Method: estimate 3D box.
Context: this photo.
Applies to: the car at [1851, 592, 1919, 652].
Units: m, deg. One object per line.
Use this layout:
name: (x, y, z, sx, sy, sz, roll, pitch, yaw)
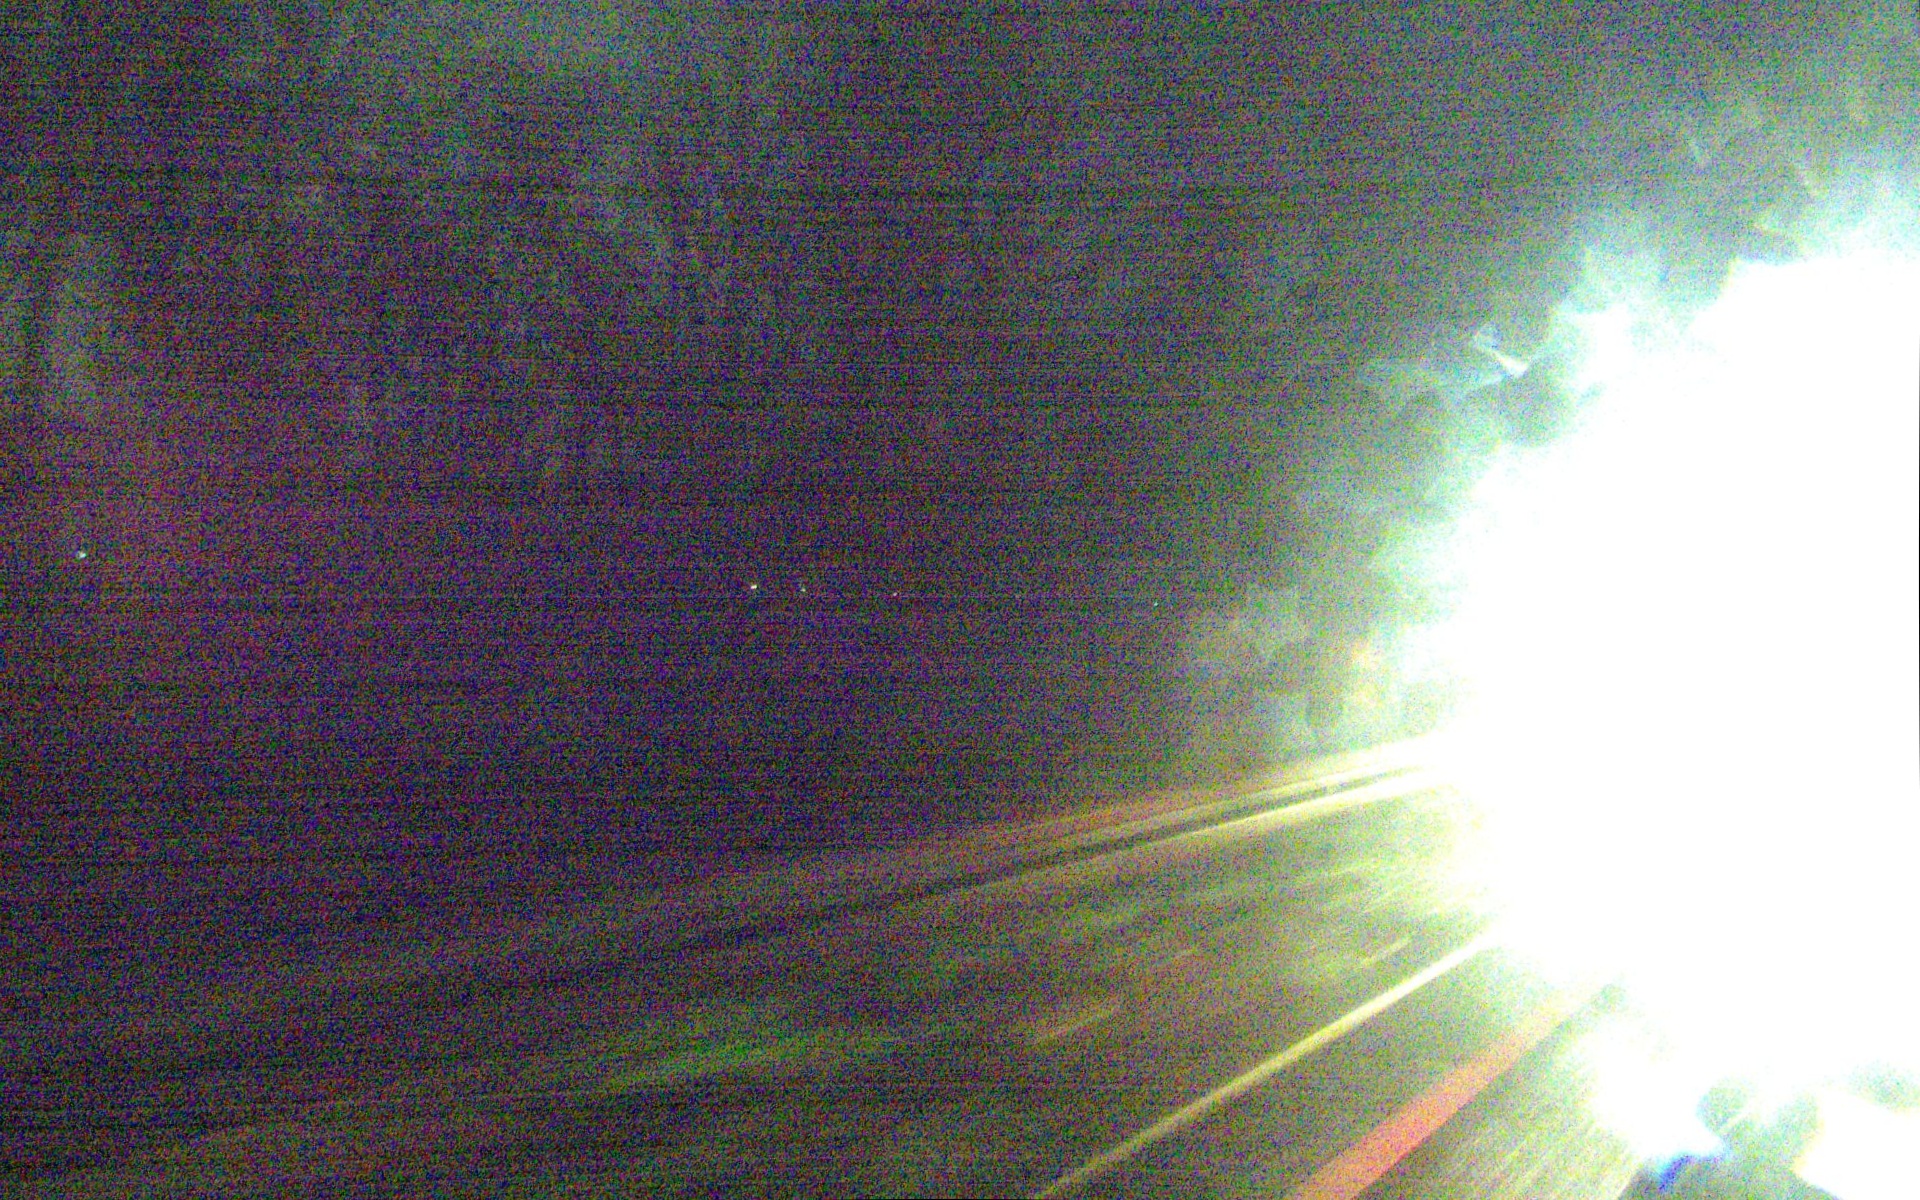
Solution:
car: (25.513, 0.567, 27.459, 1.844, 1.467, 3.815, -1, 0, 43)
